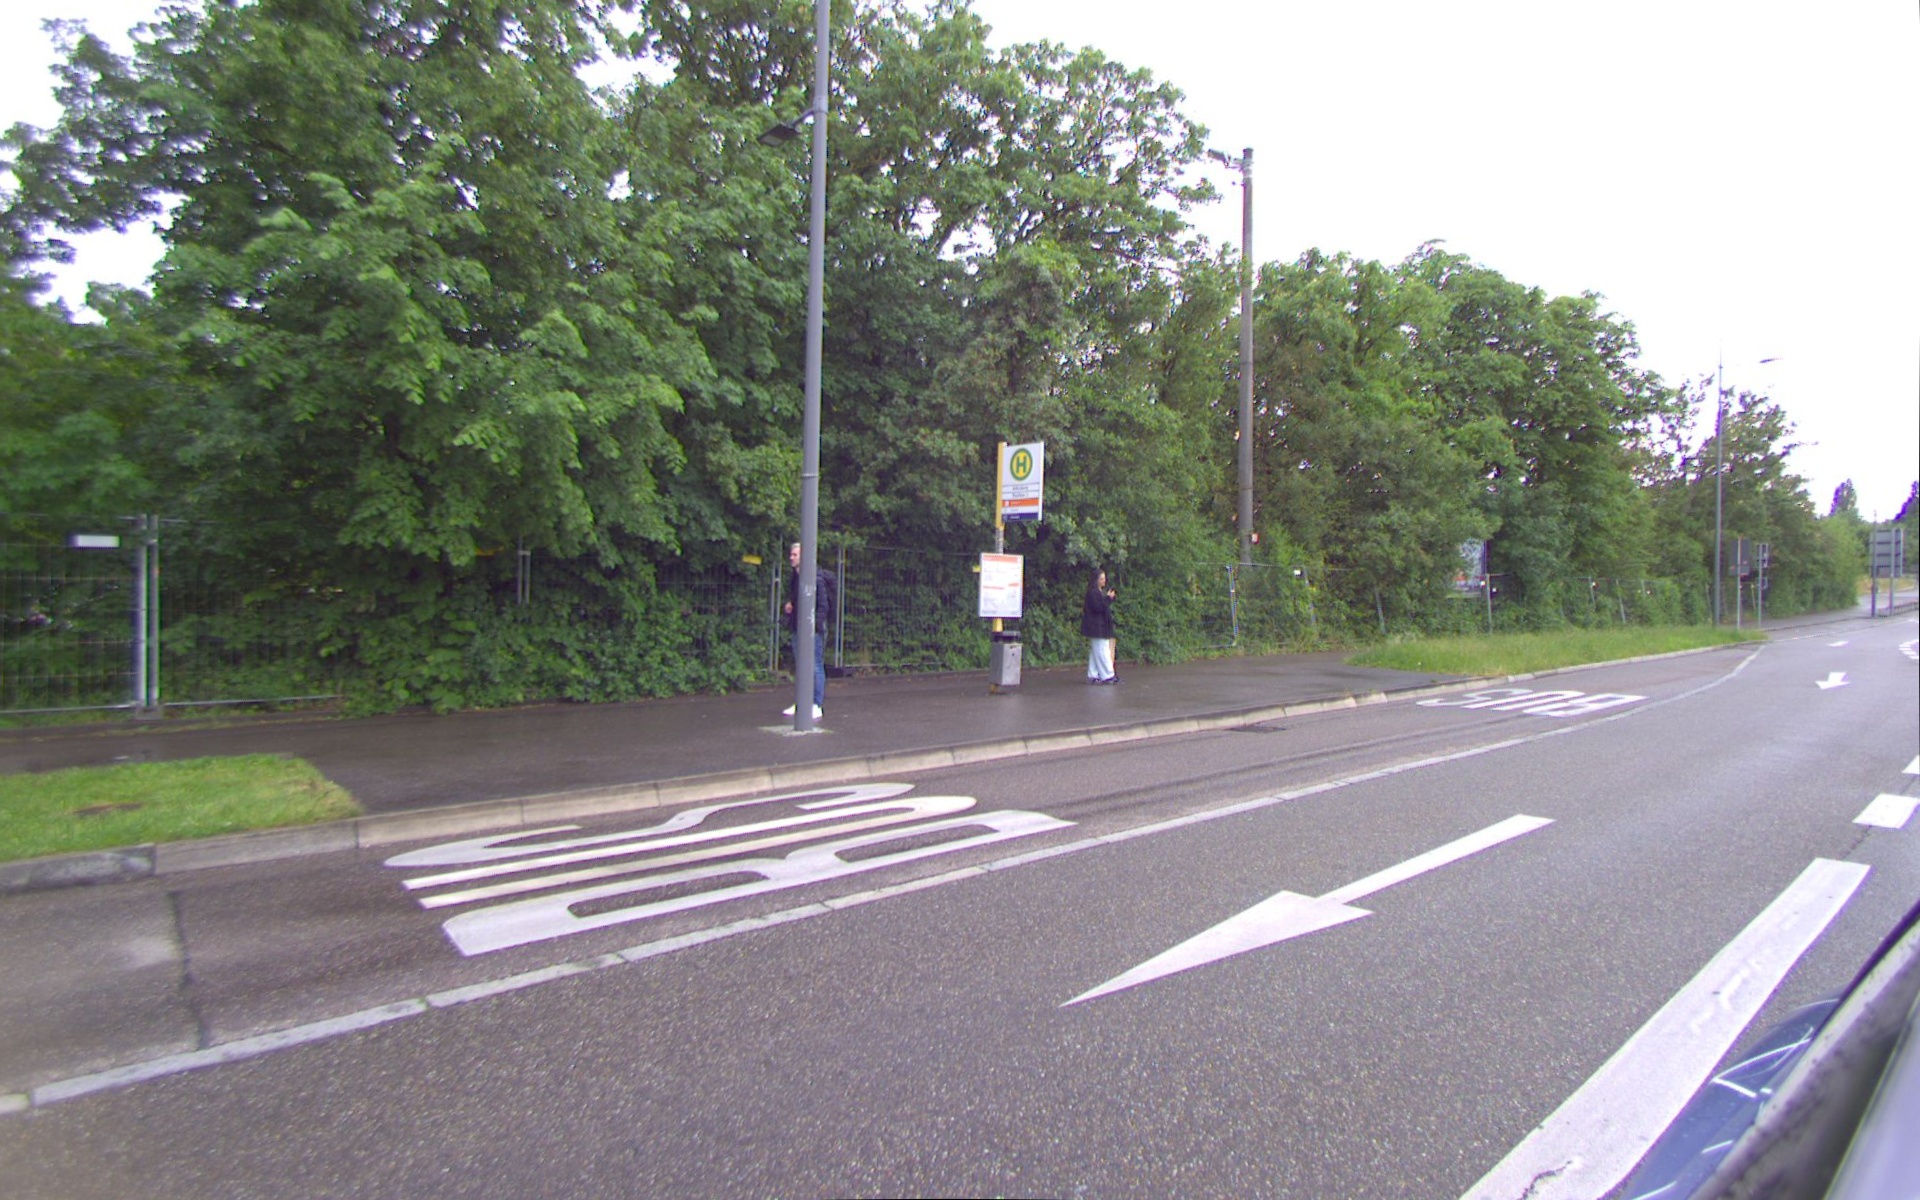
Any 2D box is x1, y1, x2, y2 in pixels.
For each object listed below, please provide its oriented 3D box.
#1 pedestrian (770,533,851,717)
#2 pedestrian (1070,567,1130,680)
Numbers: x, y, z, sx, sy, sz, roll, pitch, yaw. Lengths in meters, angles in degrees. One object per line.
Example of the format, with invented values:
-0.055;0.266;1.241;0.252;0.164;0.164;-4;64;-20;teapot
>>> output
-1.677;0.256;11.344;0.587;1.973;0.742;0;1;-40;pedestrian
2.099;0.329;15.182;0.650;1.648;0.588;0;1;-40;pedestrian
